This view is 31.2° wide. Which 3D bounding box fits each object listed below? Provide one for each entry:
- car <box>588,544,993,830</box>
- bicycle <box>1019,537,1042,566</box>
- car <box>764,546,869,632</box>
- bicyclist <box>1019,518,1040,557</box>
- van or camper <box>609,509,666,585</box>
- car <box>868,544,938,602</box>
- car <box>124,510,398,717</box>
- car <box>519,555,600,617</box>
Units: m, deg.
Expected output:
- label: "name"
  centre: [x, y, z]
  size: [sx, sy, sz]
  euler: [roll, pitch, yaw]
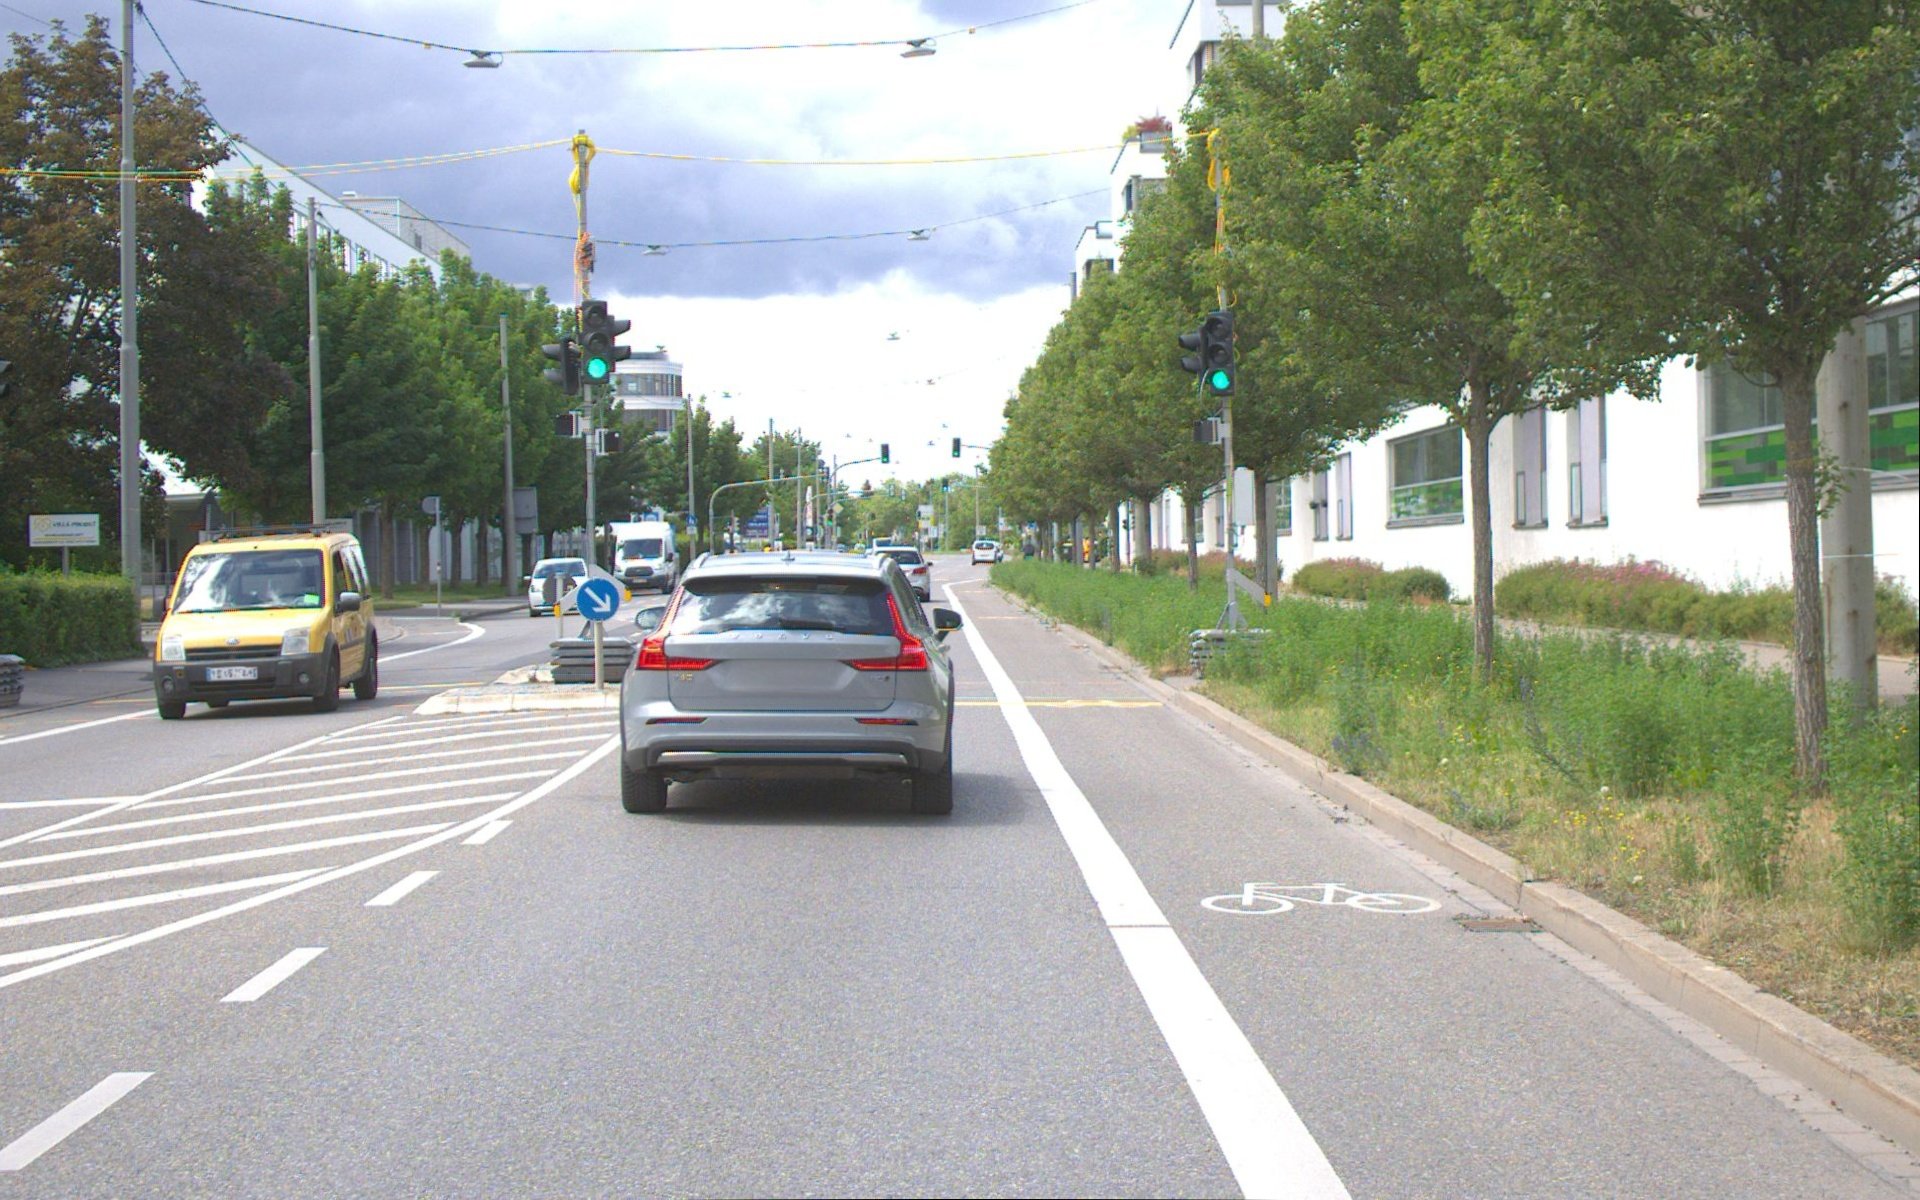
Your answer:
- label: "car"
  centre: [-0.891, 0.432, 20.329]
  size: [1.855, 1.508, 3.999]
  euler: [0, 1, 5]
- label: "bicycle"
  centre: [3.721, -2.569, 181.942]
  size: [1.067, 1.448, 2.978]
  euler: [-2, 1, -1]
- label: "car"
  centre: [-2.606, -0.231, 63.274]
  size: [1.854, 1.508, 4.000]
  euler: [0, 1, -1]
- label: "bicyclist"
  centre: [3.666, -3.295, 181.911]
  size: [1.014, 2.007, 1.131]
  euler: [-2, 1, -1]
- label: "van or camper"
  centre: [-12.122, -1.981, 129.403]
  size: [1.993, 2.724, 6.054]
  euler: [-2, 1, -5]
- label: "car"
  centre: [-1.545, -0.744, 92.699]
  size: [1.845, 1.508, 4.000]
  euler: [0, 1, -1]
- label: "car"
  centre: [-7.003, 0.090, 34.893]
  size: [1.841, 1.898, 4.686]
  euler: [-2, 1, -1]
- label: "car"
  centre: [-10.404, -0.386, 89.467]
  size: [1.661, 1.510, 4.000]
  euler: [-1, 1, -1]
